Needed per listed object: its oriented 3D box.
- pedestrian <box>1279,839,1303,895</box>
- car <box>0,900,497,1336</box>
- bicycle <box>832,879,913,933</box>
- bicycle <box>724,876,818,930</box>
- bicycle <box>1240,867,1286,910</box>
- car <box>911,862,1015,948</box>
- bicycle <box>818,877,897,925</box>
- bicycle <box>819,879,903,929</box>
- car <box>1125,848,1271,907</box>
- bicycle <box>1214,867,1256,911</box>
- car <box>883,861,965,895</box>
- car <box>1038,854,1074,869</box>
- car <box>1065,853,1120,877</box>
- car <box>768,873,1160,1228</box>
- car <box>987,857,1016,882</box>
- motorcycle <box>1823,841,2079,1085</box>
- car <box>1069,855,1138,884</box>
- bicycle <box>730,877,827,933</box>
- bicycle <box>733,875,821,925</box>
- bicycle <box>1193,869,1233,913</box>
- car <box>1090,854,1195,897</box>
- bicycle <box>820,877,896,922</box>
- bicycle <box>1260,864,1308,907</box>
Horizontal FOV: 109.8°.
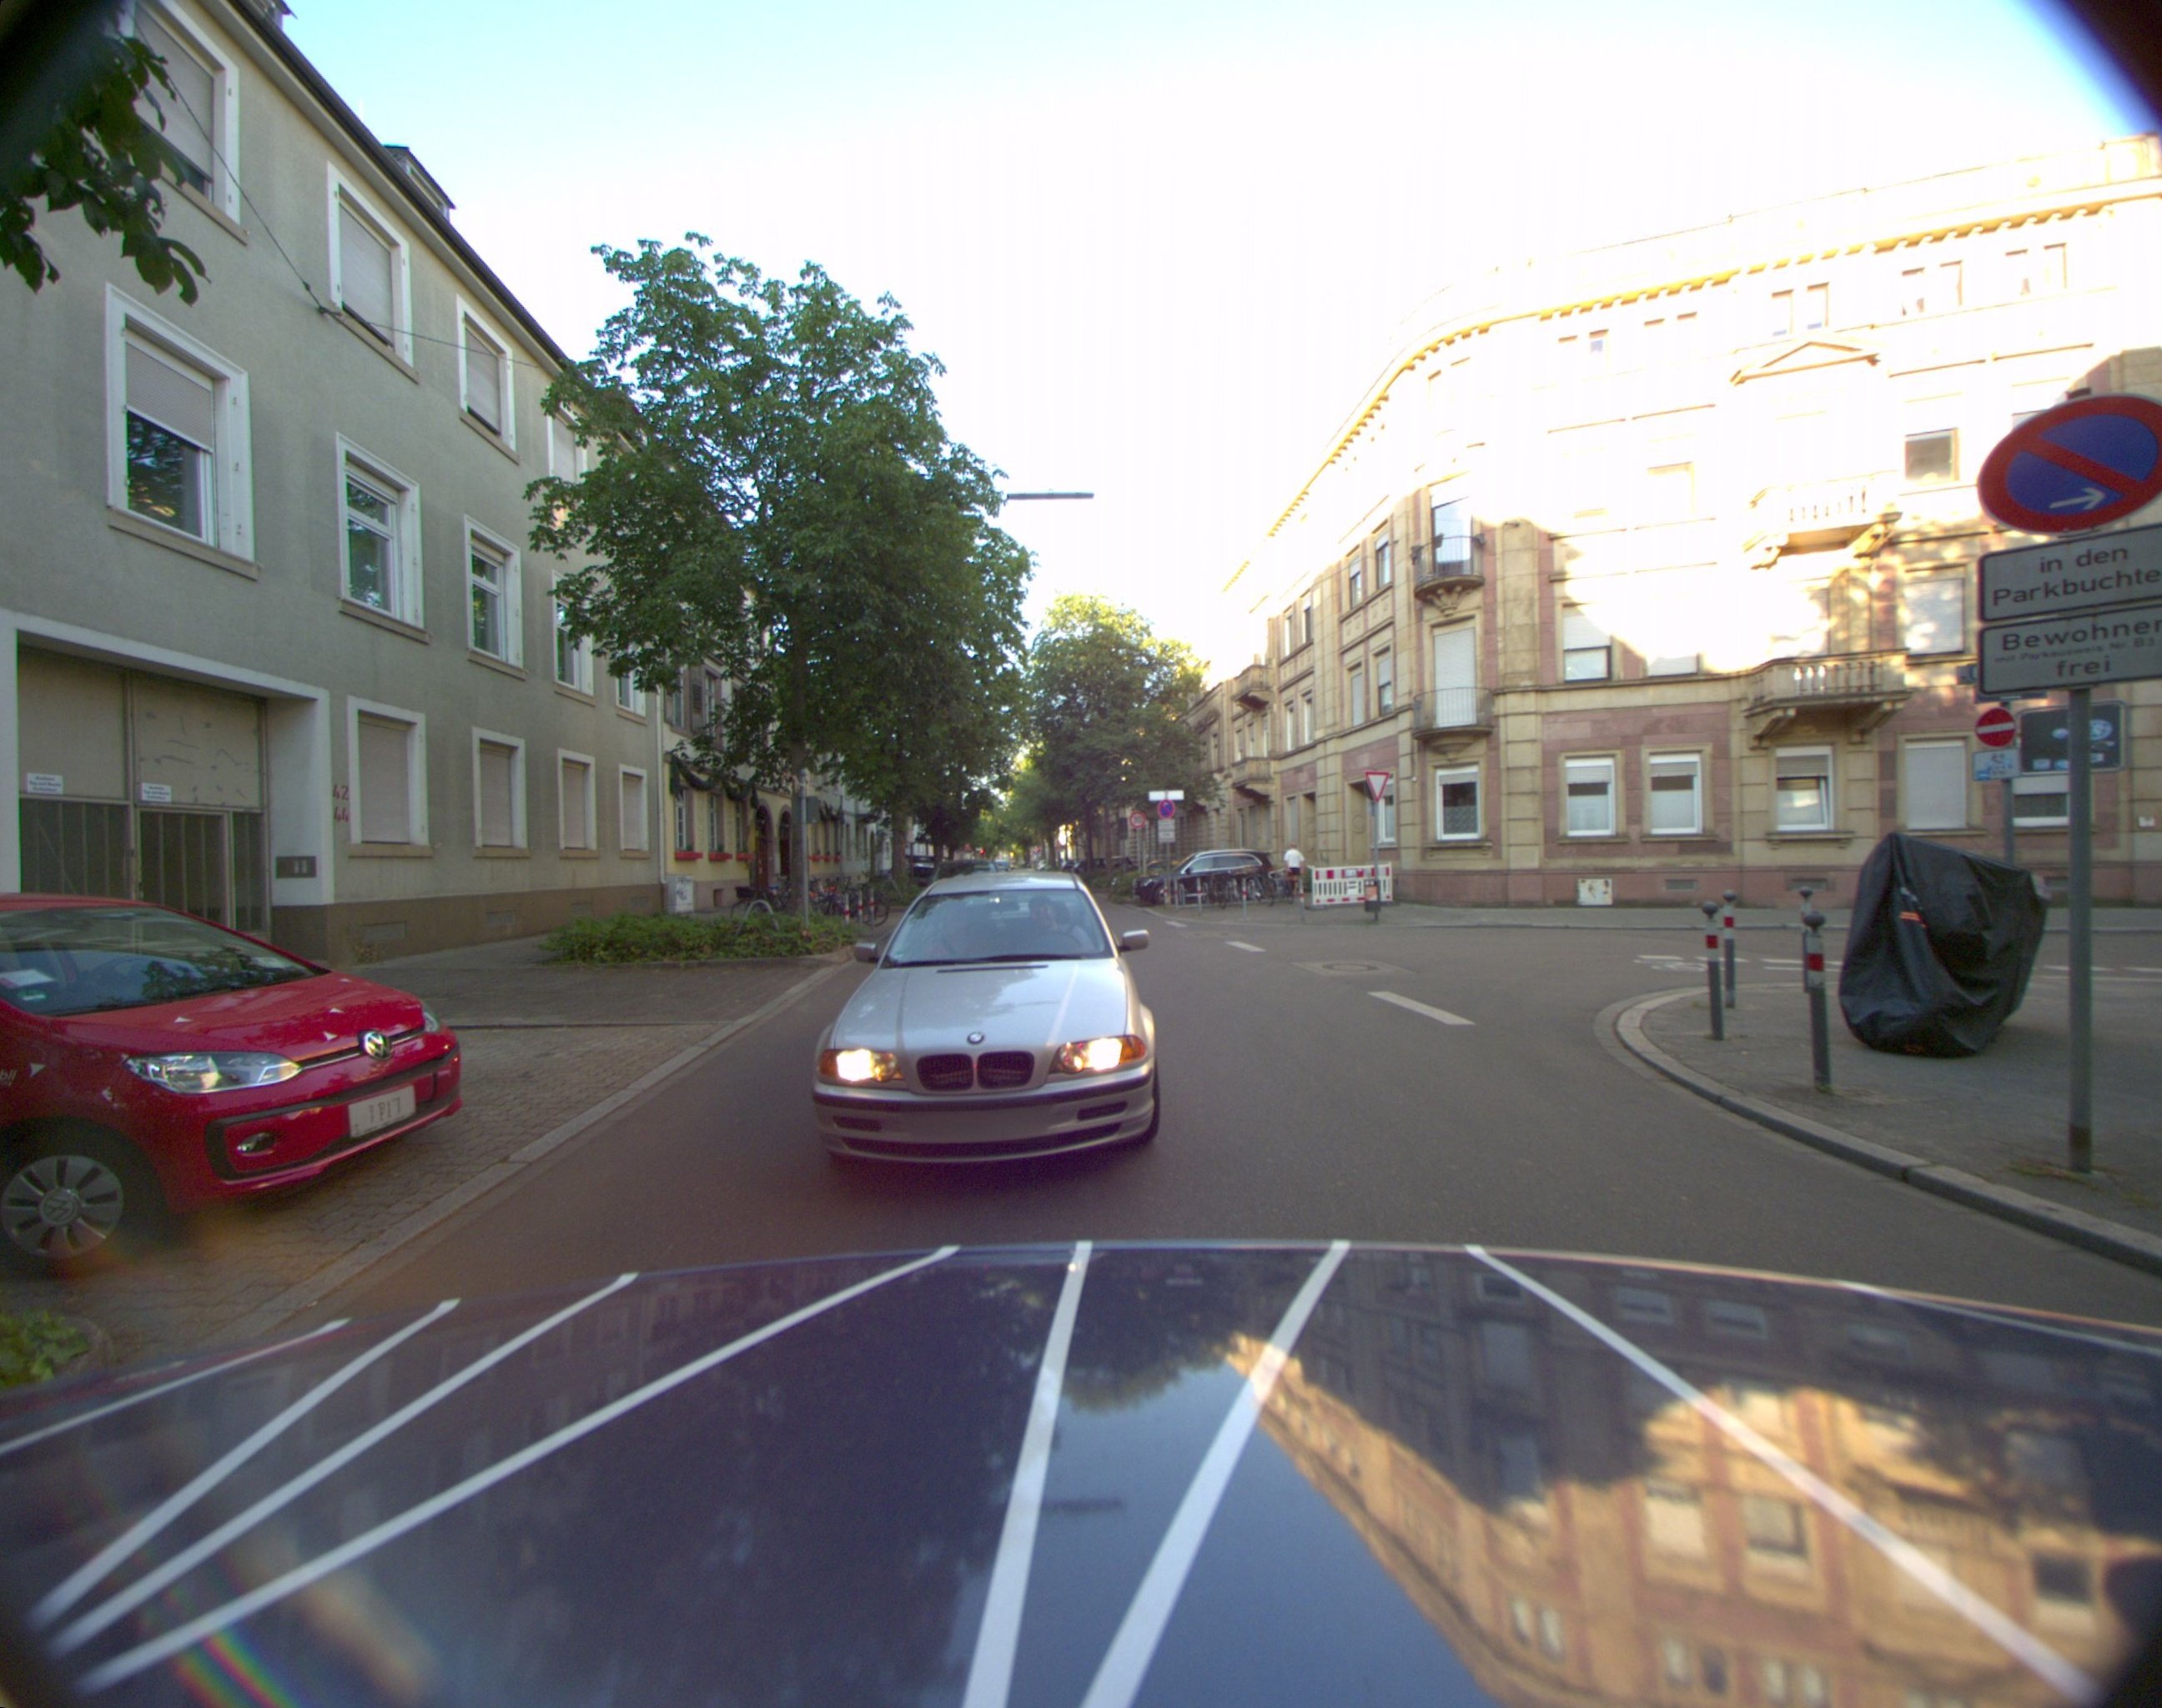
[{"bbox_3d":[6.784,0.418,24.565,0.572,1.797,0.651,-1,1,4],"label":"pedestrian"},{"bbox_3d":[-5.165,1.036,3.435,3.621,1.468,1.663,-1,0,-7],"label":"car"},{"bbox_3d":[-5.037,1.251,18.400,1.849,1.220,0.535,-1,0,-16],"label":"bicycle"},{"bbox_3d":[-7.494,1.177,18.453,2.030,1.220,0.535,-1,0,-16],"label":"bicycle"},{"bbox_3d":[5.175,0.953,21.773,0.562,1.144,2.038,-1,0,-8],"label":"bicycle"},{"bbox_3d":[-2.381,0.975,16.213,1.806,1.543,3.998,-1,0,-4],"label":"car"},{"bbox_3d":[-6.128,1.282,20.921,2.029,1.220,0.535,-1,0,-11],"label":"bicycle"},{"bbox_3d":[-5.661,1.278,19.640,2.029,1.220,0.535,-1,0,-11],"label":"bicycle"},{"bbox_3d":[3.724,0.740,24.667,4.423,1.771,1.741,-1,0,-2],"label":"car"},{"bbox_3d":[4.382,0.975,21.731,0.562,1.144,2.038,-1,0,-6],"label":"bicycle"},{"bbox_3d":[-8.557,1.274,41.671,4.245,1.729,1.741,-1,0,-6],"label":"car"},{"bbox_3d":[-3.033,0.947,92.537,4.245,1.749,1.741,-1,0,-5],"label":"car"},{"bbox_3d":[0.860,0.866,60.853,4.245,1.749,1.741,-1,0,-5],"label":"car"},{"bbox_3d":[-0.489,0.934,5.595,1.711,1.433,4.436,-1,0,1],"label":"car"},{"bbox_3d":[-5.348,1.012,51.483,1.806,1.543,3.998,-1,0,-5],"label":"car"},{"bbox_3d":[6.497,0.669,5.640,2.286,1.496,0.816,-1,1,-30],"label":"motorcycle"},{"bbox_3d":[1.407,0.955,48.383,4.245,1.749,1.741,-1,0,-5],"label":"car"},{"bbox_3d":[-7.034,1.167,17.751,2.030,1.220,0.535,-1,0,-16],"label":"bicycle"},{"bbox_3d":[-7.815,1.177,19.599,2.029,1.220,0.535,-1,0,-13],"label":"bicycle"},{"bbox_3d":[3.743,1.019,21.662,0.562,1.144,2.038,-1,0,-6],"label":"bicycle"},{"bbox_3d":[2.528,0.887,32.090,4.243,1.668,1.742,-1,0,-1],"label":"car"},{"bbox_3d":[-6.369,1.282,21.791,2.029,1.220,0.535,-1,0,-11],"label":"bicycle"},{"bbox_3d":[5.794,0.873,21.822,0.562,1.144,2.038,-1,0,-8],"label":"bicycle"}]
